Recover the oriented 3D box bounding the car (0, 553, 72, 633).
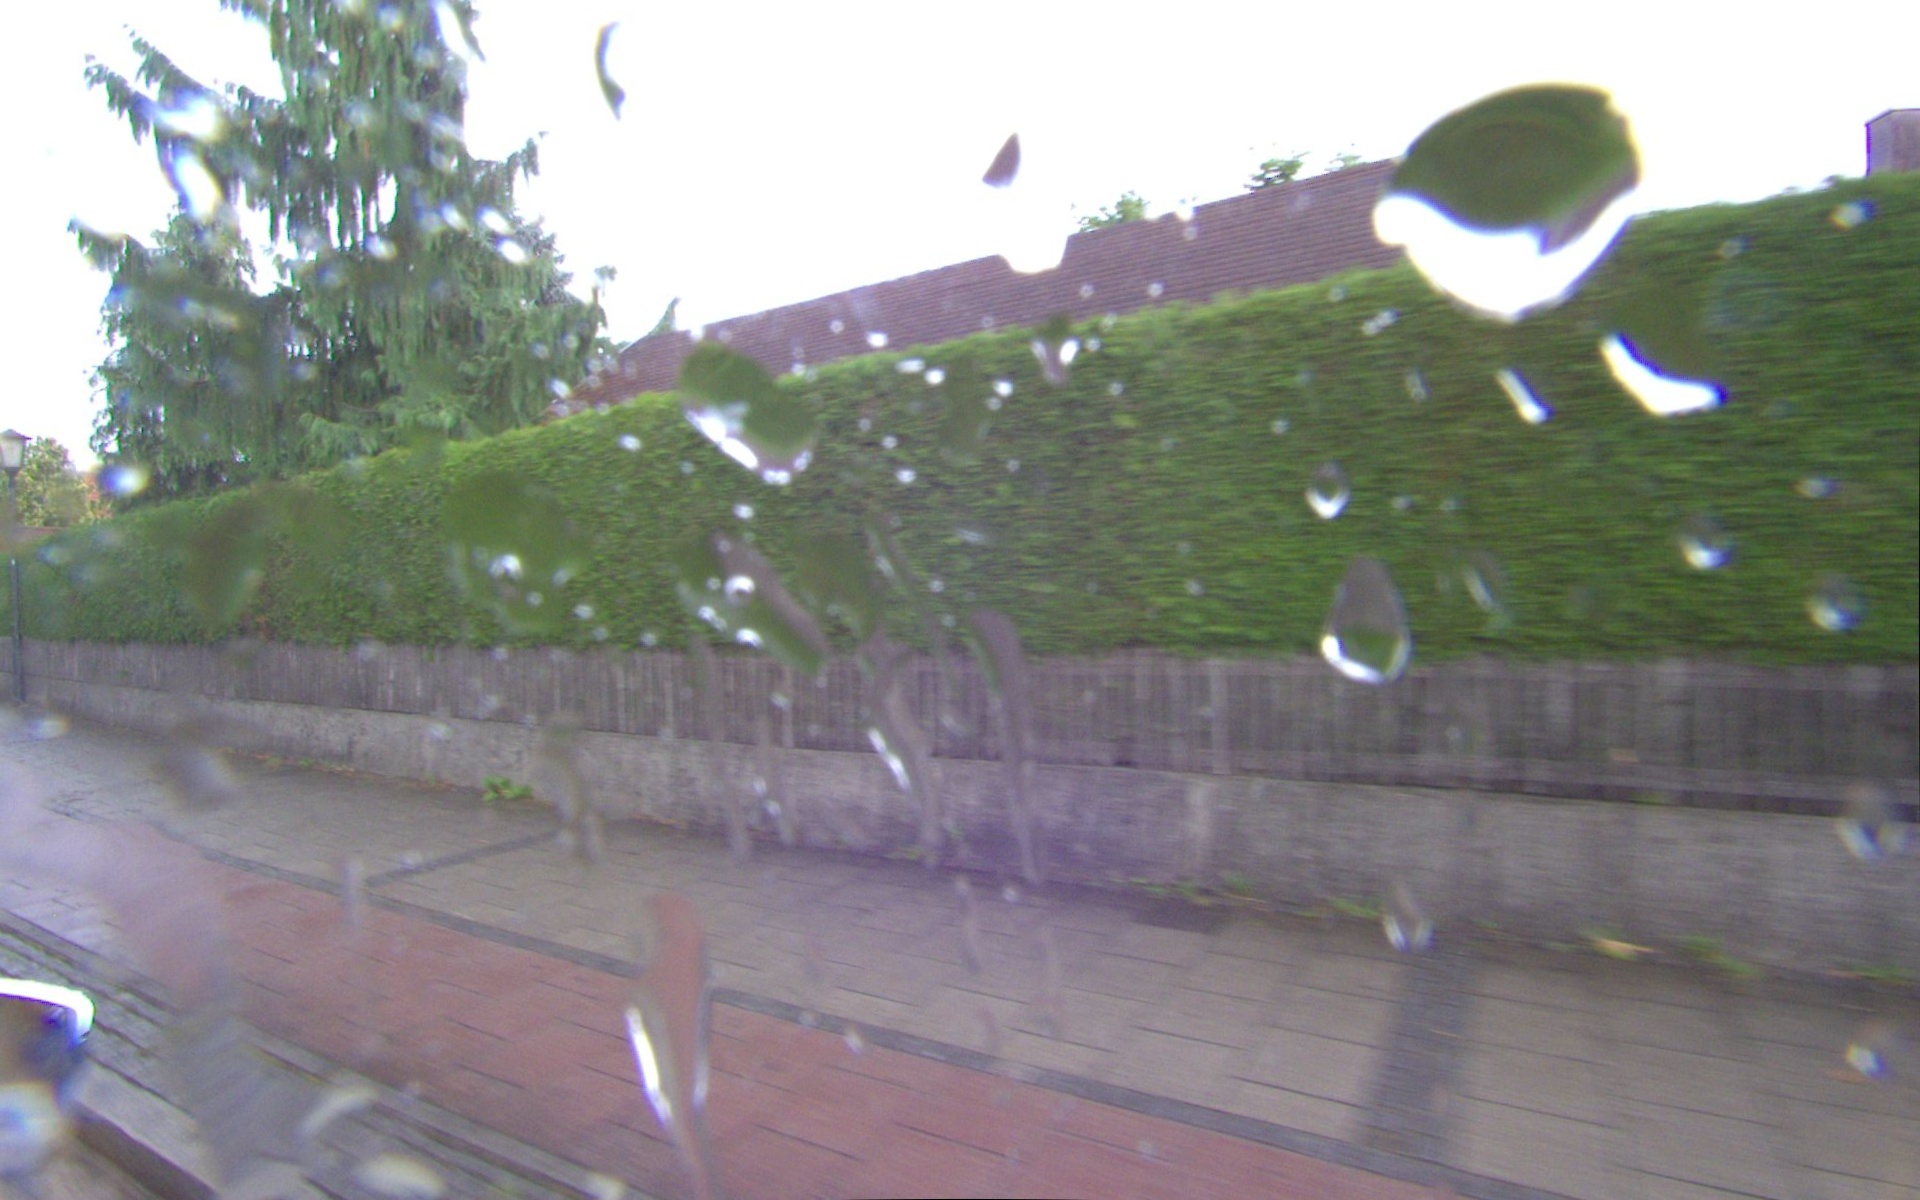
[{"bbox_3d":[-28.765,-0.137,29.600,4.872,2.201,1.994,-1,-2,25],"label":"car"}]
